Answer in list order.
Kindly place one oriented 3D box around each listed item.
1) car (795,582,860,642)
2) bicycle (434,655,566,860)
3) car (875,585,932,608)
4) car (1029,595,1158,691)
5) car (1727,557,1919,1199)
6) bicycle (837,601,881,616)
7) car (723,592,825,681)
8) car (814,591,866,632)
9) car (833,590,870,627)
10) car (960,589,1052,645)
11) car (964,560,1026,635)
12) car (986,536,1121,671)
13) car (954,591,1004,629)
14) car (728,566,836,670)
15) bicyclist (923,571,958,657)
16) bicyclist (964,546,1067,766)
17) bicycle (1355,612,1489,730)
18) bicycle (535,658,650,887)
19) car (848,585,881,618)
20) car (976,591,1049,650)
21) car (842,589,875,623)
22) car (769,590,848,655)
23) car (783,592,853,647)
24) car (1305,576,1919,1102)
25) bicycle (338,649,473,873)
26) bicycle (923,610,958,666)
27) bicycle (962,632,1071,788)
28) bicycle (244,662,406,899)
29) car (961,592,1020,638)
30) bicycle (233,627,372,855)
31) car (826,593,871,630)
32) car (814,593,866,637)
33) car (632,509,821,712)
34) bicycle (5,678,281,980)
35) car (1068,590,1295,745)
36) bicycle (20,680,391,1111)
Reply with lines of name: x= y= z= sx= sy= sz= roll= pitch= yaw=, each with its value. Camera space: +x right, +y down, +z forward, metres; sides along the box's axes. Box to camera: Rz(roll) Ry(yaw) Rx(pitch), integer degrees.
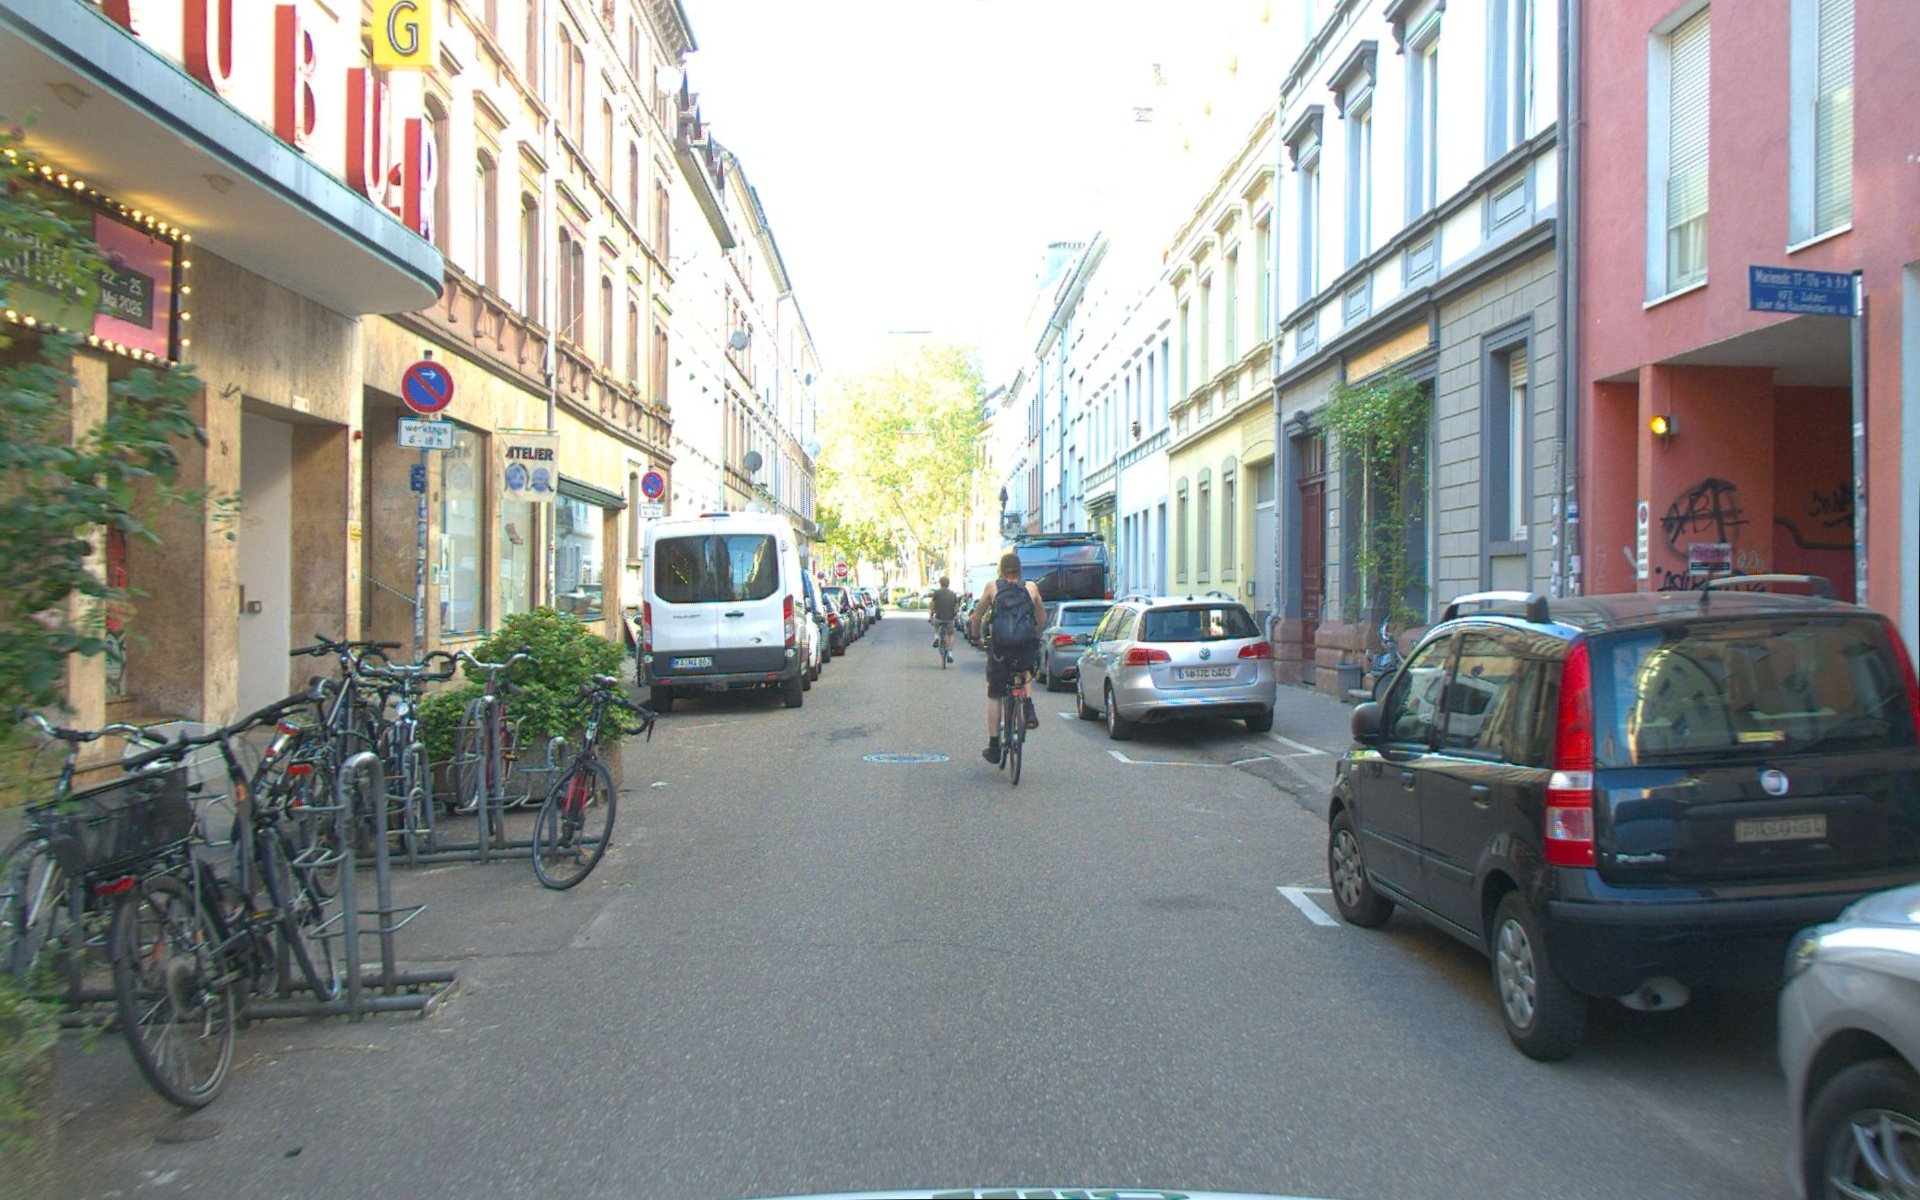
car: x=-4.131 y=0.351 z=52.022 sx=1.764 sy=1.728 sz=3.999 roll=-2 pitch=0 yaw=-2
bicycle: x=-2.806 y=0.918 z=10.229 sx=0.433 sy=1.066 sz=1.863 roll=2 pitch=0 yaw=-6
car: x=-4.488 y=-0.270 z=130.628 sx=4.383 sy=1.790 sz=1.864 roll=0 pitch=0 yaw=-6
car: x=2.166 y=0.663 z=27.803 sx=1.712 sy=1.469 sz=4.170 roll=0 pitch=0 yaw=-2
car: x=2.806 y=0.716 z=2.077 sx=1.710 sy=1.583 sz=4.171 roll=0 pitch=0 yaw=-1
bicycle: x=-6.154 y=0.505 z=101.075 sx=2.662 sy=0.907 sz=0.618 roll=0 pitch=0 yaw=-5
car: x=-3.278 y=0.608 z=29.736 sx=1.613 sy=1.472 sz=3.837 roll=0 pitch=0 yaw=-3
car: x=-4.452 y=0.411 z=61.969 sx=1.639 sy=1.455 sz=3.888 roll=0 pitch=0 yaw=0
car: x=-4.711 y=0.344 z=71.982 sx=1.573 sy=1.556 sz=3.376 roll=-1 pitch=0 yaw=-4
car: x=1.329 y=0.478 z=50.116 sx=1.779 sy=1.503 sz=4.596 roll=-3 pitch=1 yaw=-11
car: x=1.241 y=-0.112 z=60.611 sx=2.159 sy=2.595 sz=6.036 roll=0 pitch=0 yaw=0
car: x=1.805 y=0.043 z=34.069 sx=2.131 sy=2.467 sz=6.306 roll=-1 pitch=0 yaw=-2
car: x=0.740 y=0.378 z=67.125 sx=1.697 sy=1.496 sz=4.017 roll=0 pitch=0 yaw=-4
car: x=-3.623 y=0.336 z=34.320 sx=1.790 sy=1.924 sz=4.612 roll=-2 pitch=0 yaw=-2
bicyclist: x=-0.393 y=0.278 z=32.938 sx=0.656 sy=1.687 sz=0.877 roll=0 pitch=0 yaw=-2
bicyclist: x=0.438 y=0.438 z=13.544 sx=0.725 sy=1.708 sz=1.116 roll=2 pitch=0 yaw=-2
bicycle: x=4.774 y=0.704 z=17.226 sx=0.696 sy=1.116 sz=1.899 roll=-2 pitch=0 yaw=-4
bicycle: x=-2.070 y=0.898 z=9.191 sx=0.453 sy=1.066 sz=1.741 roll=2 pitch=0 yaw=-17
car: x=-5.247 y=0.080 z=91.546 sx=1.752 sy=1.767 sz=3.874 roll=0 pitch=0 yaw=-2
car: x=1.396 y=0.520 z=45.333 sx=1.711 sy=1.511 sz=4.241 roll=0 pitch=0 yaw=-2
car: x=-4.872 y=0.286 z=79.354 sx=1.514 sy=1.578 sz=3.462 roll=0 pitch=0 yaw=-5
car: x=-3.707 y=0.519 z=41.013 sx=1.825 sy=1.465 sz=4.642 roll=0 pitch=1 yaw=-4
car: x=-3.919 y=0.519 z=46.068 sx=1.701 sy=1.452 sz=3.999 roll=0 pitch=0 yaw=-2
car: x=2.623 y=0.725 z=6.854 sx=1.569 sy=1.566 sz=3.450 roll=-2 pitch=0 yaw=-1
bicycle: x=-3.381 y=0.938 z=10.178 sx=0.391 sy=1.194 sz=1.668 roll=2 pitch=0 yaw=-6
bicycle: x=-0.392 y=0.736 z=32.931 sx=0.650 sy=1.055 sz=1.958 roll=0 pitch=0 yaw=-2
bicycle: x=0.430 y=0.857 z=13.580 sx=0.725 sy=1.120 sz=2.041 roll=2 pitch=0 yaw=-2
bicycle: x=-3.248 y=0.885 z=8.545 sx=0.409 sy=1.066 sz=1.317 roll=2 pitch=0 yaw=-5
car: x=0.975 y=0.468 z=55.157 sx=1.691 sy=1.454 sz=3.830 roll=0 pitch=0 yaw=-3
bicycle: x=-3.840 y=0.781 z=9.742 sx=0.332 sy=1.194 sz=1.488 roll=2 pitch=0 yaw=-6
car: x=-4.498 y=0.427 z=67.028 sx=1.672 sy=1.438 sz=4.300 roll=0 pitch=0 yaw=-2
car: x=-4.100 y=0.491 z=57.003 sx=1.559 sy=1.465 sz=3.653 roll=0 pitch=0 yaw=-1
car: x=-3.174 y=0.112 z=23.682 sx=2.125 sy=2.495 sz=5.918 roll=-1 pitch=0 yaw=-3
bicycle: x=-3.375 y=0.899 z=6.955 sx=0.562 sy=1.063 sz=1.408 roll=1 pitch=0 yaw=-6
car: x=2.386 y=0.666 z=18.975 sx=1.750 sy=1.479 sz=4.545 roll=-3 pitch=0 yaw=-2
bicycle: x=-2.467 y=0.889 z=5.644 sx=0.535 sy=1.113 sz=1.880 roll=2 pitch=0 yaw=-6
